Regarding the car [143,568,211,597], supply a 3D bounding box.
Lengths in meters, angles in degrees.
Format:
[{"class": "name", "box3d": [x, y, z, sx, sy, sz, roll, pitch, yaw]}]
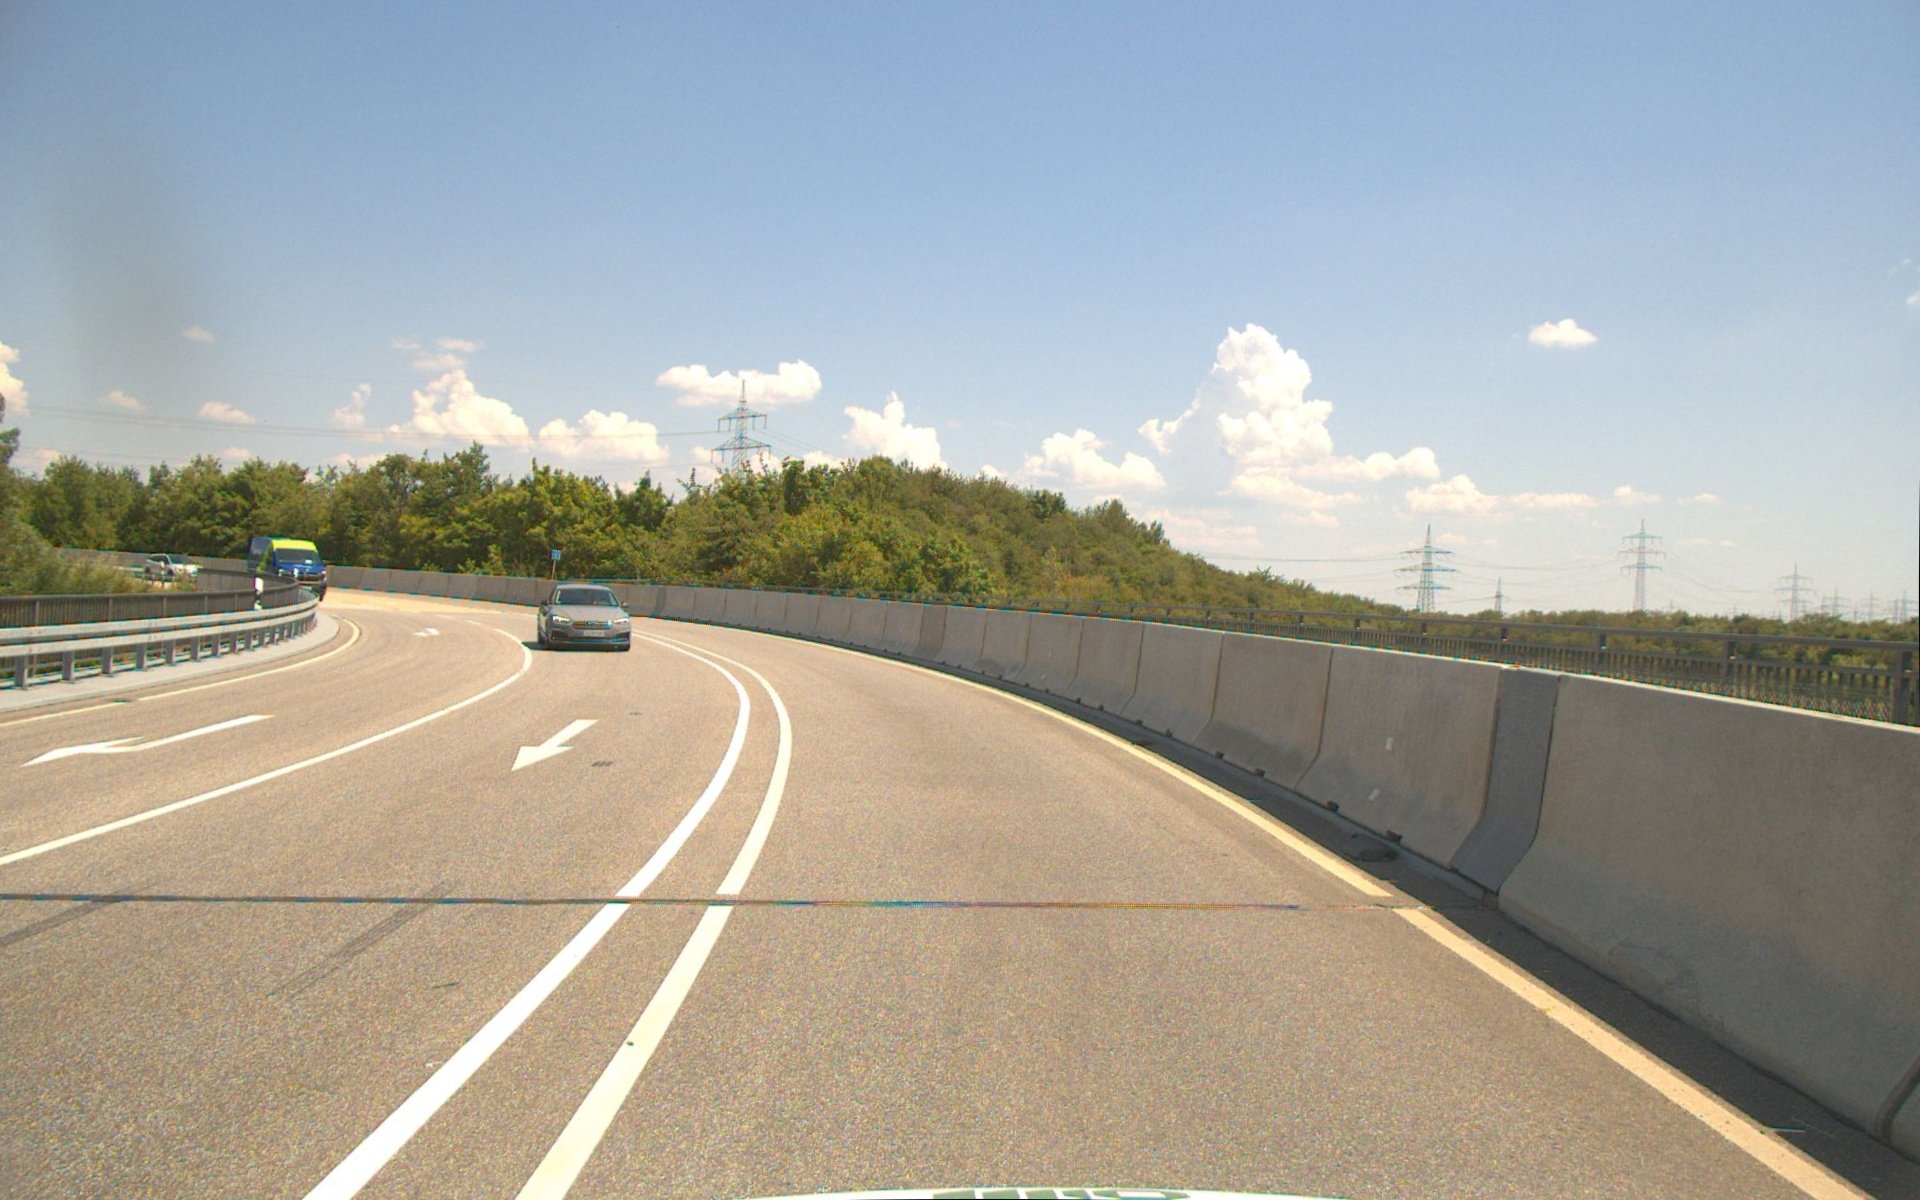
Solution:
[{"class": "car", "box3d": [-42.552, -0.946, 89.850, 4.287, 1.484, 1.738, 0, 1, 41]}]

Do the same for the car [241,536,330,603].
[{"class": "car", "box3d": [-28.568, -1.341, 69.976, 1.981, 2.526, 5.406, -5, 6, -38]}]

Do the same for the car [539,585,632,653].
[{"class": "car", "box3d": [-8.560, 0.389, 37.541, 1.750, 1.409, 4.262, 1, 0, -17]}]
